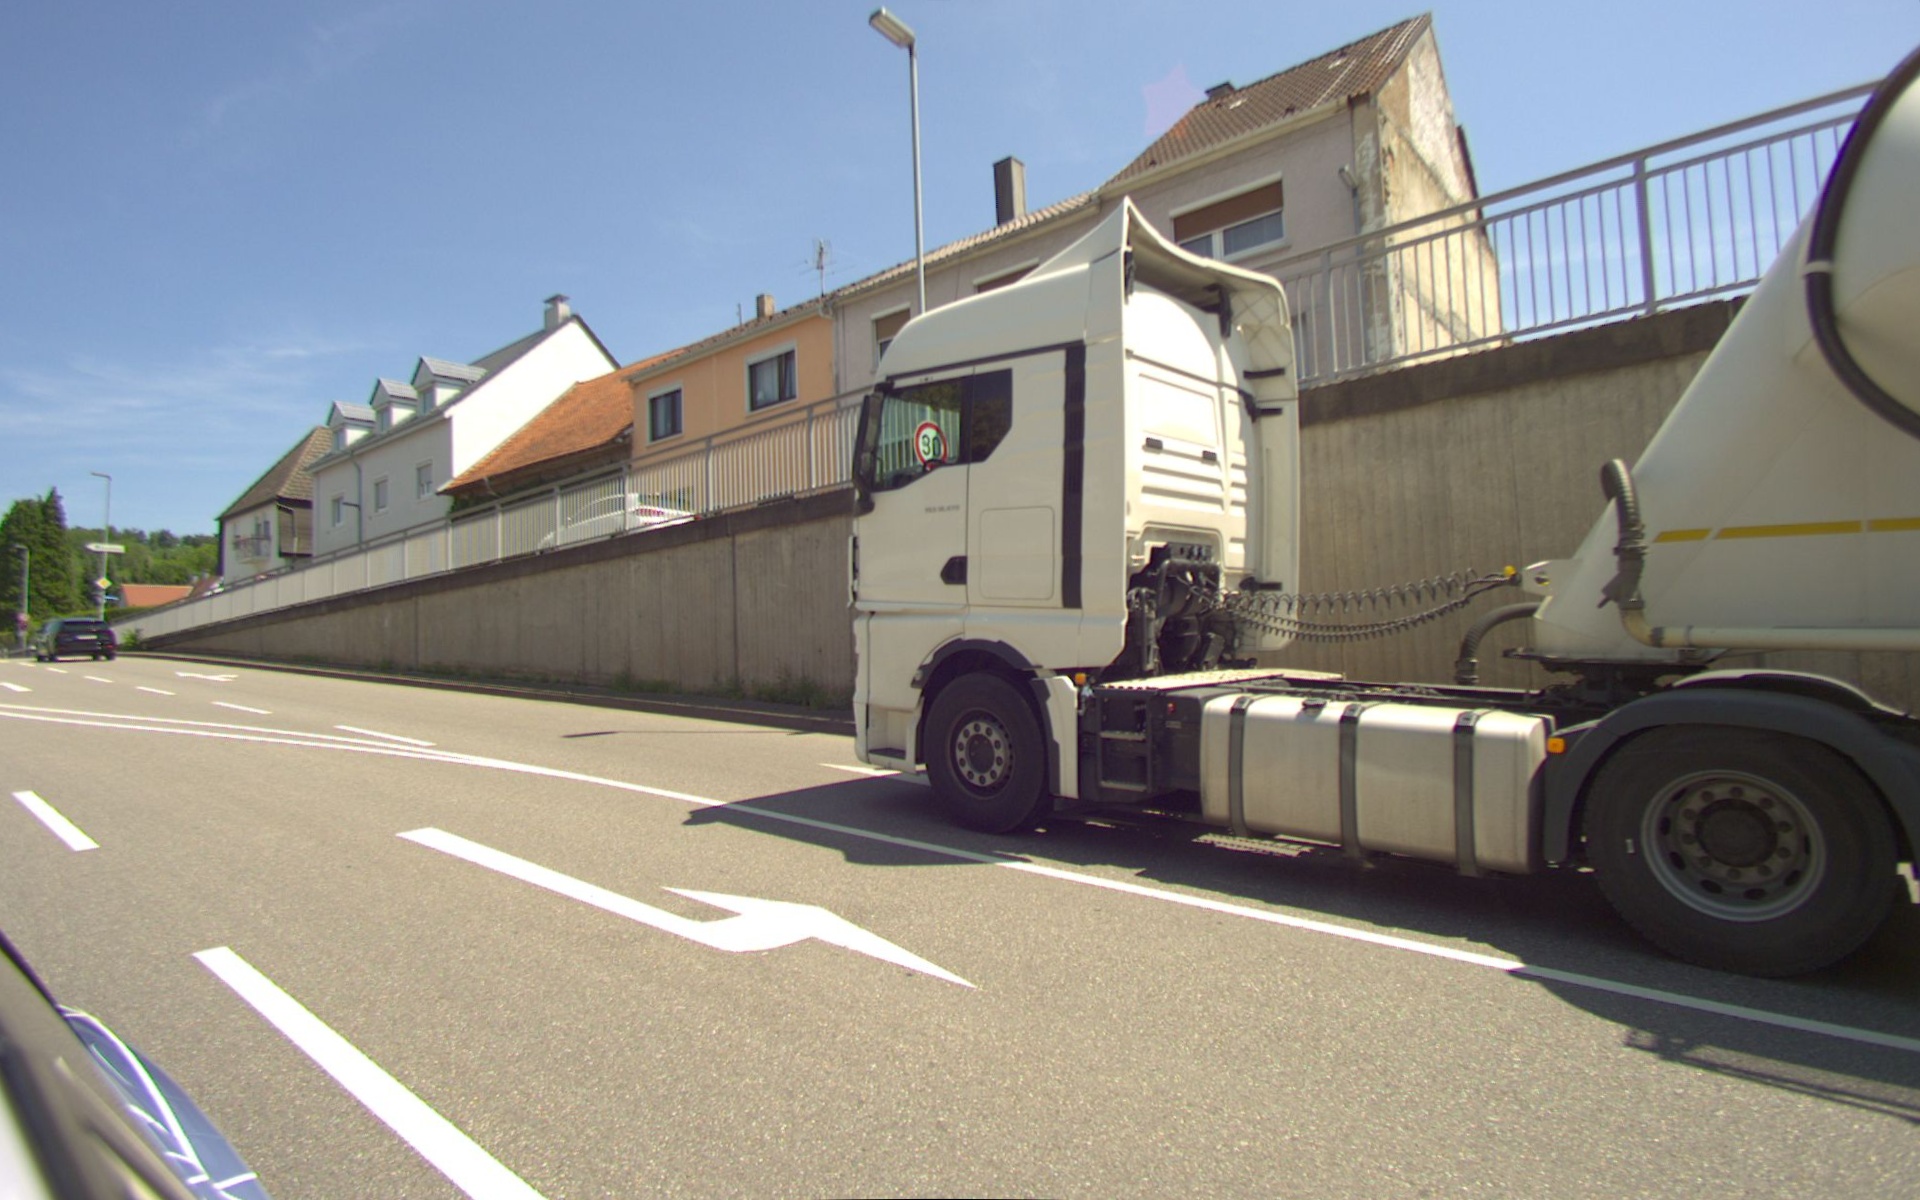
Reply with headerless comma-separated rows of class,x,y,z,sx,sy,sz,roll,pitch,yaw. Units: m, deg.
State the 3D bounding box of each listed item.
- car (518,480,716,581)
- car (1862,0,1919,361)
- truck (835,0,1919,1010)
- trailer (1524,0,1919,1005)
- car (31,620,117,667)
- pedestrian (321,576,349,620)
car,-7.134,-1.327,20.871,4.304,1.473,1.796,-6,-4,38
car,9.405,-3.524,6.109,5.656,2.556,2.044,-5,-3,40
truck,2.422,-0.485,6.101,6.578,3.890,2.634,-1,-1,42
trailer,6.776,-0.631,2.197,9.343,3.994,2.582,-1,-1,42
car,-30.517,1.471,34.817,4.367,1.500,1.742,-1,-1,42
pedestrian,-25.775,-0.078,41.734,0.855,1.742,0.720,-2,-2,37
